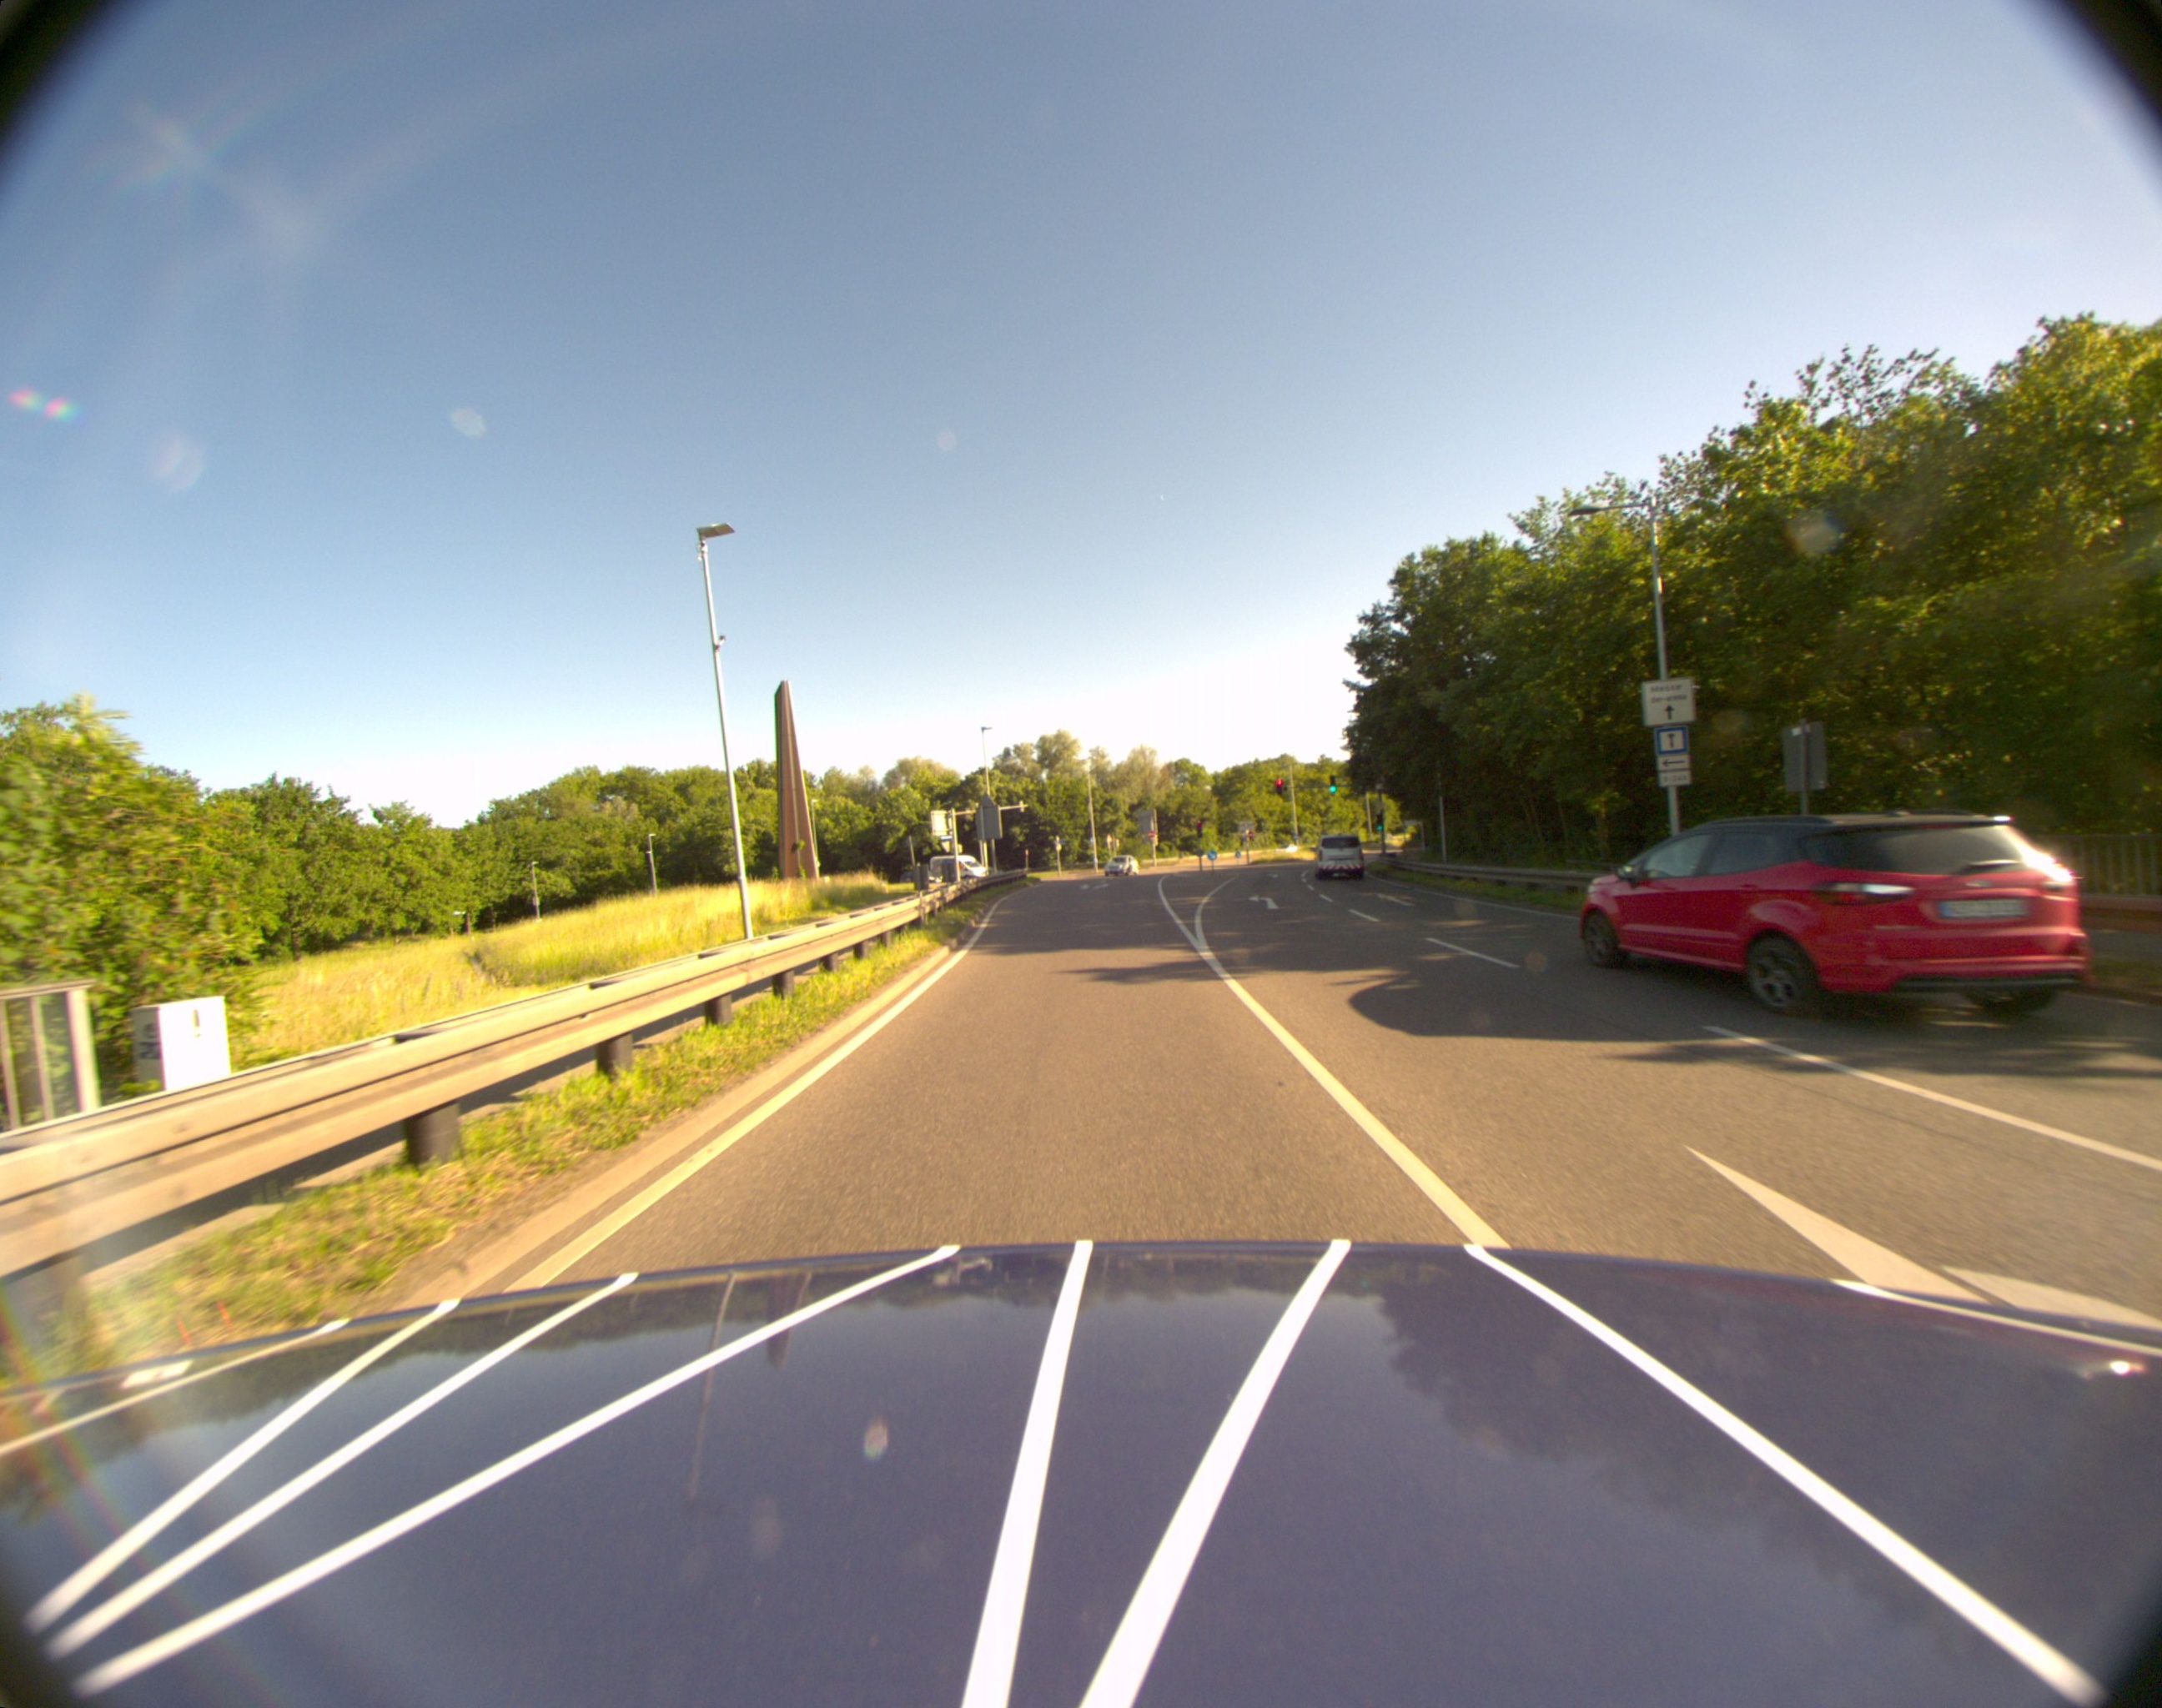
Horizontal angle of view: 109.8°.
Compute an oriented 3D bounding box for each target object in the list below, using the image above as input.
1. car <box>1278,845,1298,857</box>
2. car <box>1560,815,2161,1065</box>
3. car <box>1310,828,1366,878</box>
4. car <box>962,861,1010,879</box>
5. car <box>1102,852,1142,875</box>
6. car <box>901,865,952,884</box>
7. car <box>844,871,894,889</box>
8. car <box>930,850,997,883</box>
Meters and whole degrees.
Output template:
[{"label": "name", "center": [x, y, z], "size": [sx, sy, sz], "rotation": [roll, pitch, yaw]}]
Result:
[{"label": "car", "center": [27.120, -0.392, 99.639], "size": [1.990, 1.465, 4.135], "rotation": [-3, 0, 22]}, {"label": "car", "center": [6.538, 0.572, 7.111], "size": [1.808, 1.628, 4.001], "rotation": [-3, 0, 5]}, {"label": "car", "center": [11.821, -0.039, 35.252], "size": [1.952, 2.100, 5.276], "rotation": [-1, 0, 13]}, {"label": "car", "center": [-8.603, 1.434, 68.823], "size": [4.078, 1.431, 1.773], "rotation": [-3, 1, 32]}, {"label": "car", "center": [3.097, 0.674, 56.164], "size": [1.762, 1.428, 4.335], "rotation": [-3, 0, 19]}, {"label": "car", "center": [-12.865, 1.709, 63.180], "size": [3.977, 1.405, 1.848], "rotation": [-3, 1, 35]}, {"label": "car", "center": [-18.625, 2.300, 66.691], "size": [4.279, 1.383, 1.651], "rotation": [-3, 1, 33]}, {"label": "car", "center": [-10.229, 1.091, 65.875], "size": [5.692, 2.484, 2.119], "rotation": [-5, -1, 34]}]
